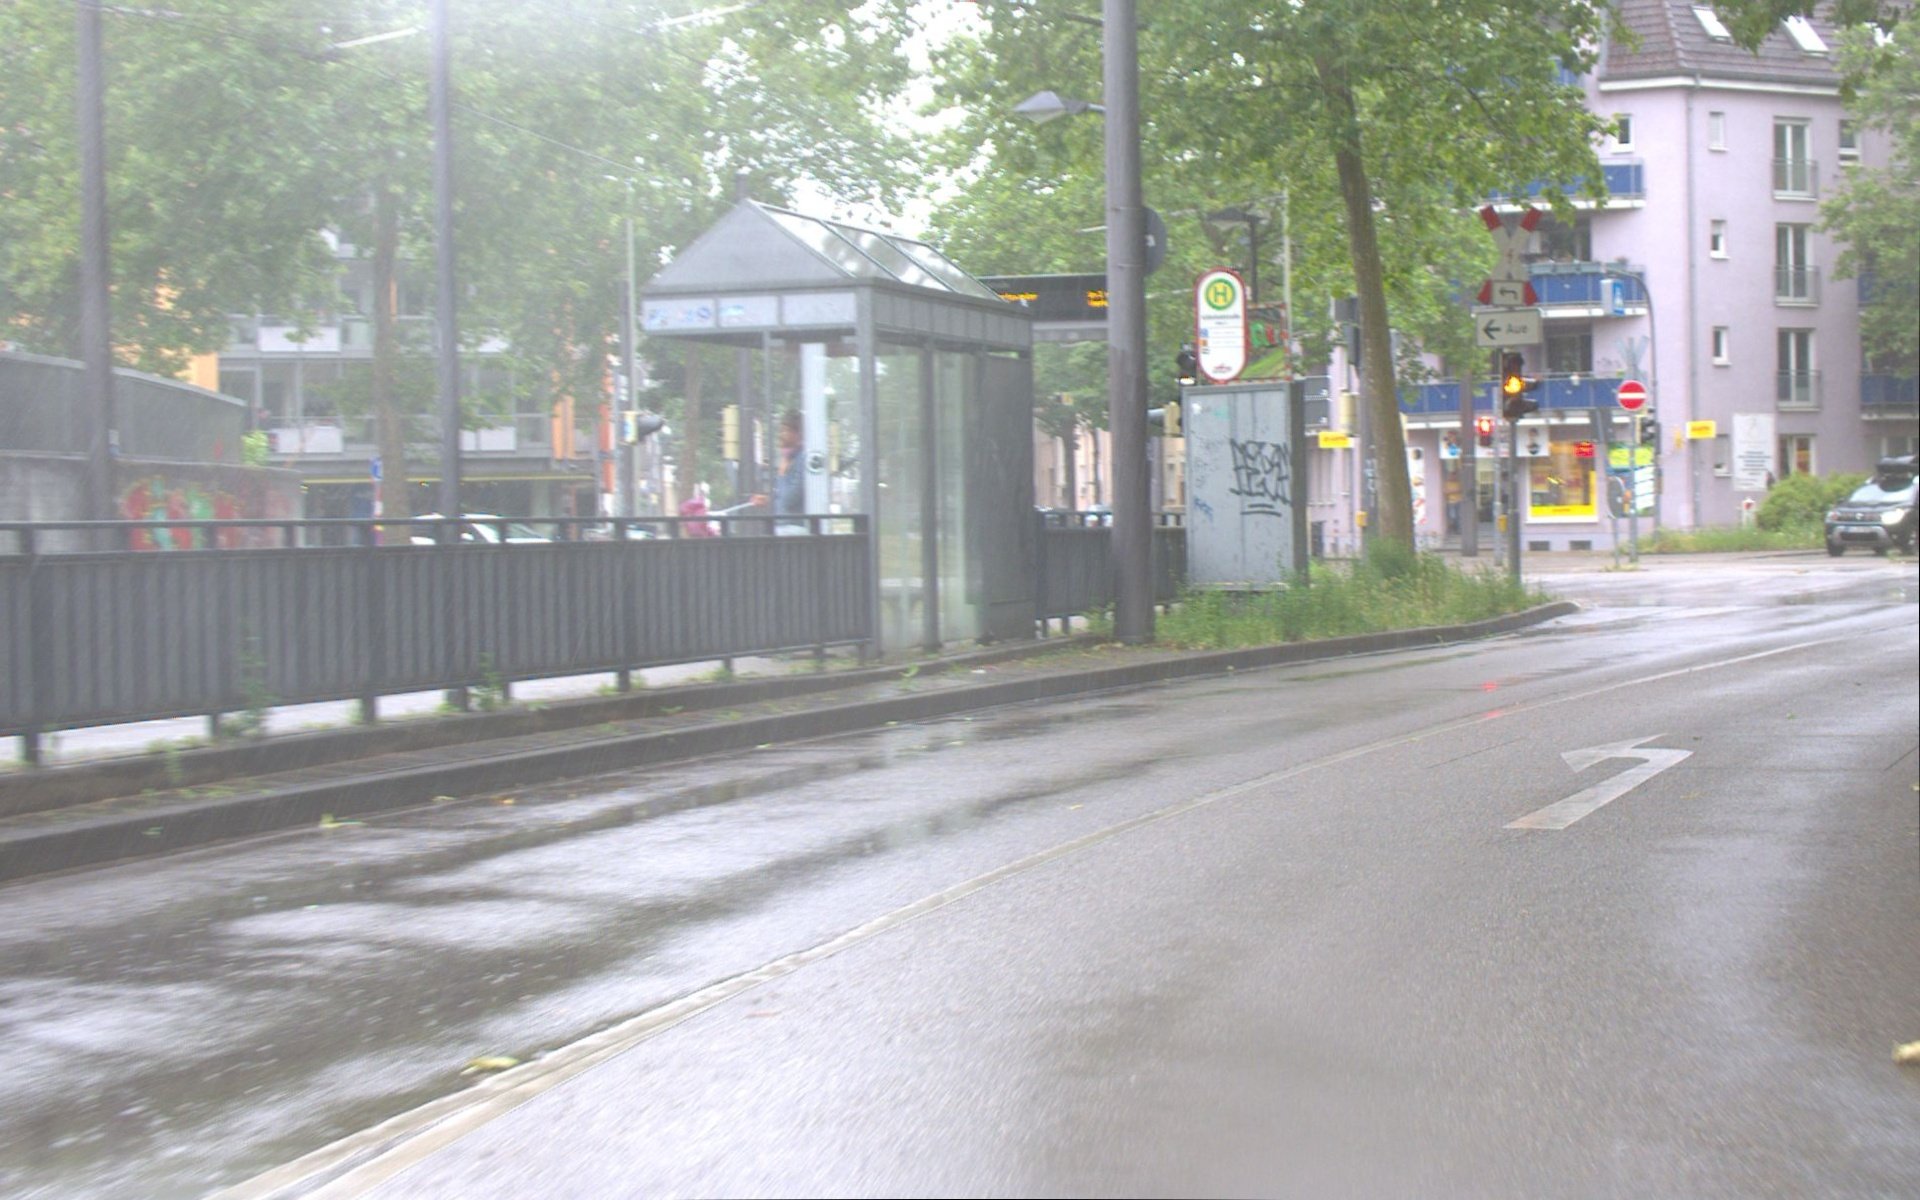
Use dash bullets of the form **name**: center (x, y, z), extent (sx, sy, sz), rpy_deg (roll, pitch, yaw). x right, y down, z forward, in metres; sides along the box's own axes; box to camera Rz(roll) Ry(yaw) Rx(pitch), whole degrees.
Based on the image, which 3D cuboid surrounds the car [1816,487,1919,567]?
- **car**: center (19.311, -1.539, 71.716), extent (1.728, 1.547, 3.553), rpy_deg (-2, 1, 32)

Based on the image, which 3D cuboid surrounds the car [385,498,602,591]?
- **car**: center (-9.262, -1.099, 68.105), extent (4.015, 1.646, 1.968), rpy_deg (-2, 1, 39)

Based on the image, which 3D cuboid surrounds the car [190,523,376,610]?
- **car**: center (-14.191, -0.699, 71.976), extent (3.789, 1.634, 1.721), rpy_deg (-2, 1, 39)

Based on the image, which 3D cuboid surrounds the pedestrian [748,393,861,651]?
- **pedestrian**: center (-1.066, -0.529, 23.529), extent (0.581, 1.725, 0.568), rpy_deg (-3, 1, -16)
